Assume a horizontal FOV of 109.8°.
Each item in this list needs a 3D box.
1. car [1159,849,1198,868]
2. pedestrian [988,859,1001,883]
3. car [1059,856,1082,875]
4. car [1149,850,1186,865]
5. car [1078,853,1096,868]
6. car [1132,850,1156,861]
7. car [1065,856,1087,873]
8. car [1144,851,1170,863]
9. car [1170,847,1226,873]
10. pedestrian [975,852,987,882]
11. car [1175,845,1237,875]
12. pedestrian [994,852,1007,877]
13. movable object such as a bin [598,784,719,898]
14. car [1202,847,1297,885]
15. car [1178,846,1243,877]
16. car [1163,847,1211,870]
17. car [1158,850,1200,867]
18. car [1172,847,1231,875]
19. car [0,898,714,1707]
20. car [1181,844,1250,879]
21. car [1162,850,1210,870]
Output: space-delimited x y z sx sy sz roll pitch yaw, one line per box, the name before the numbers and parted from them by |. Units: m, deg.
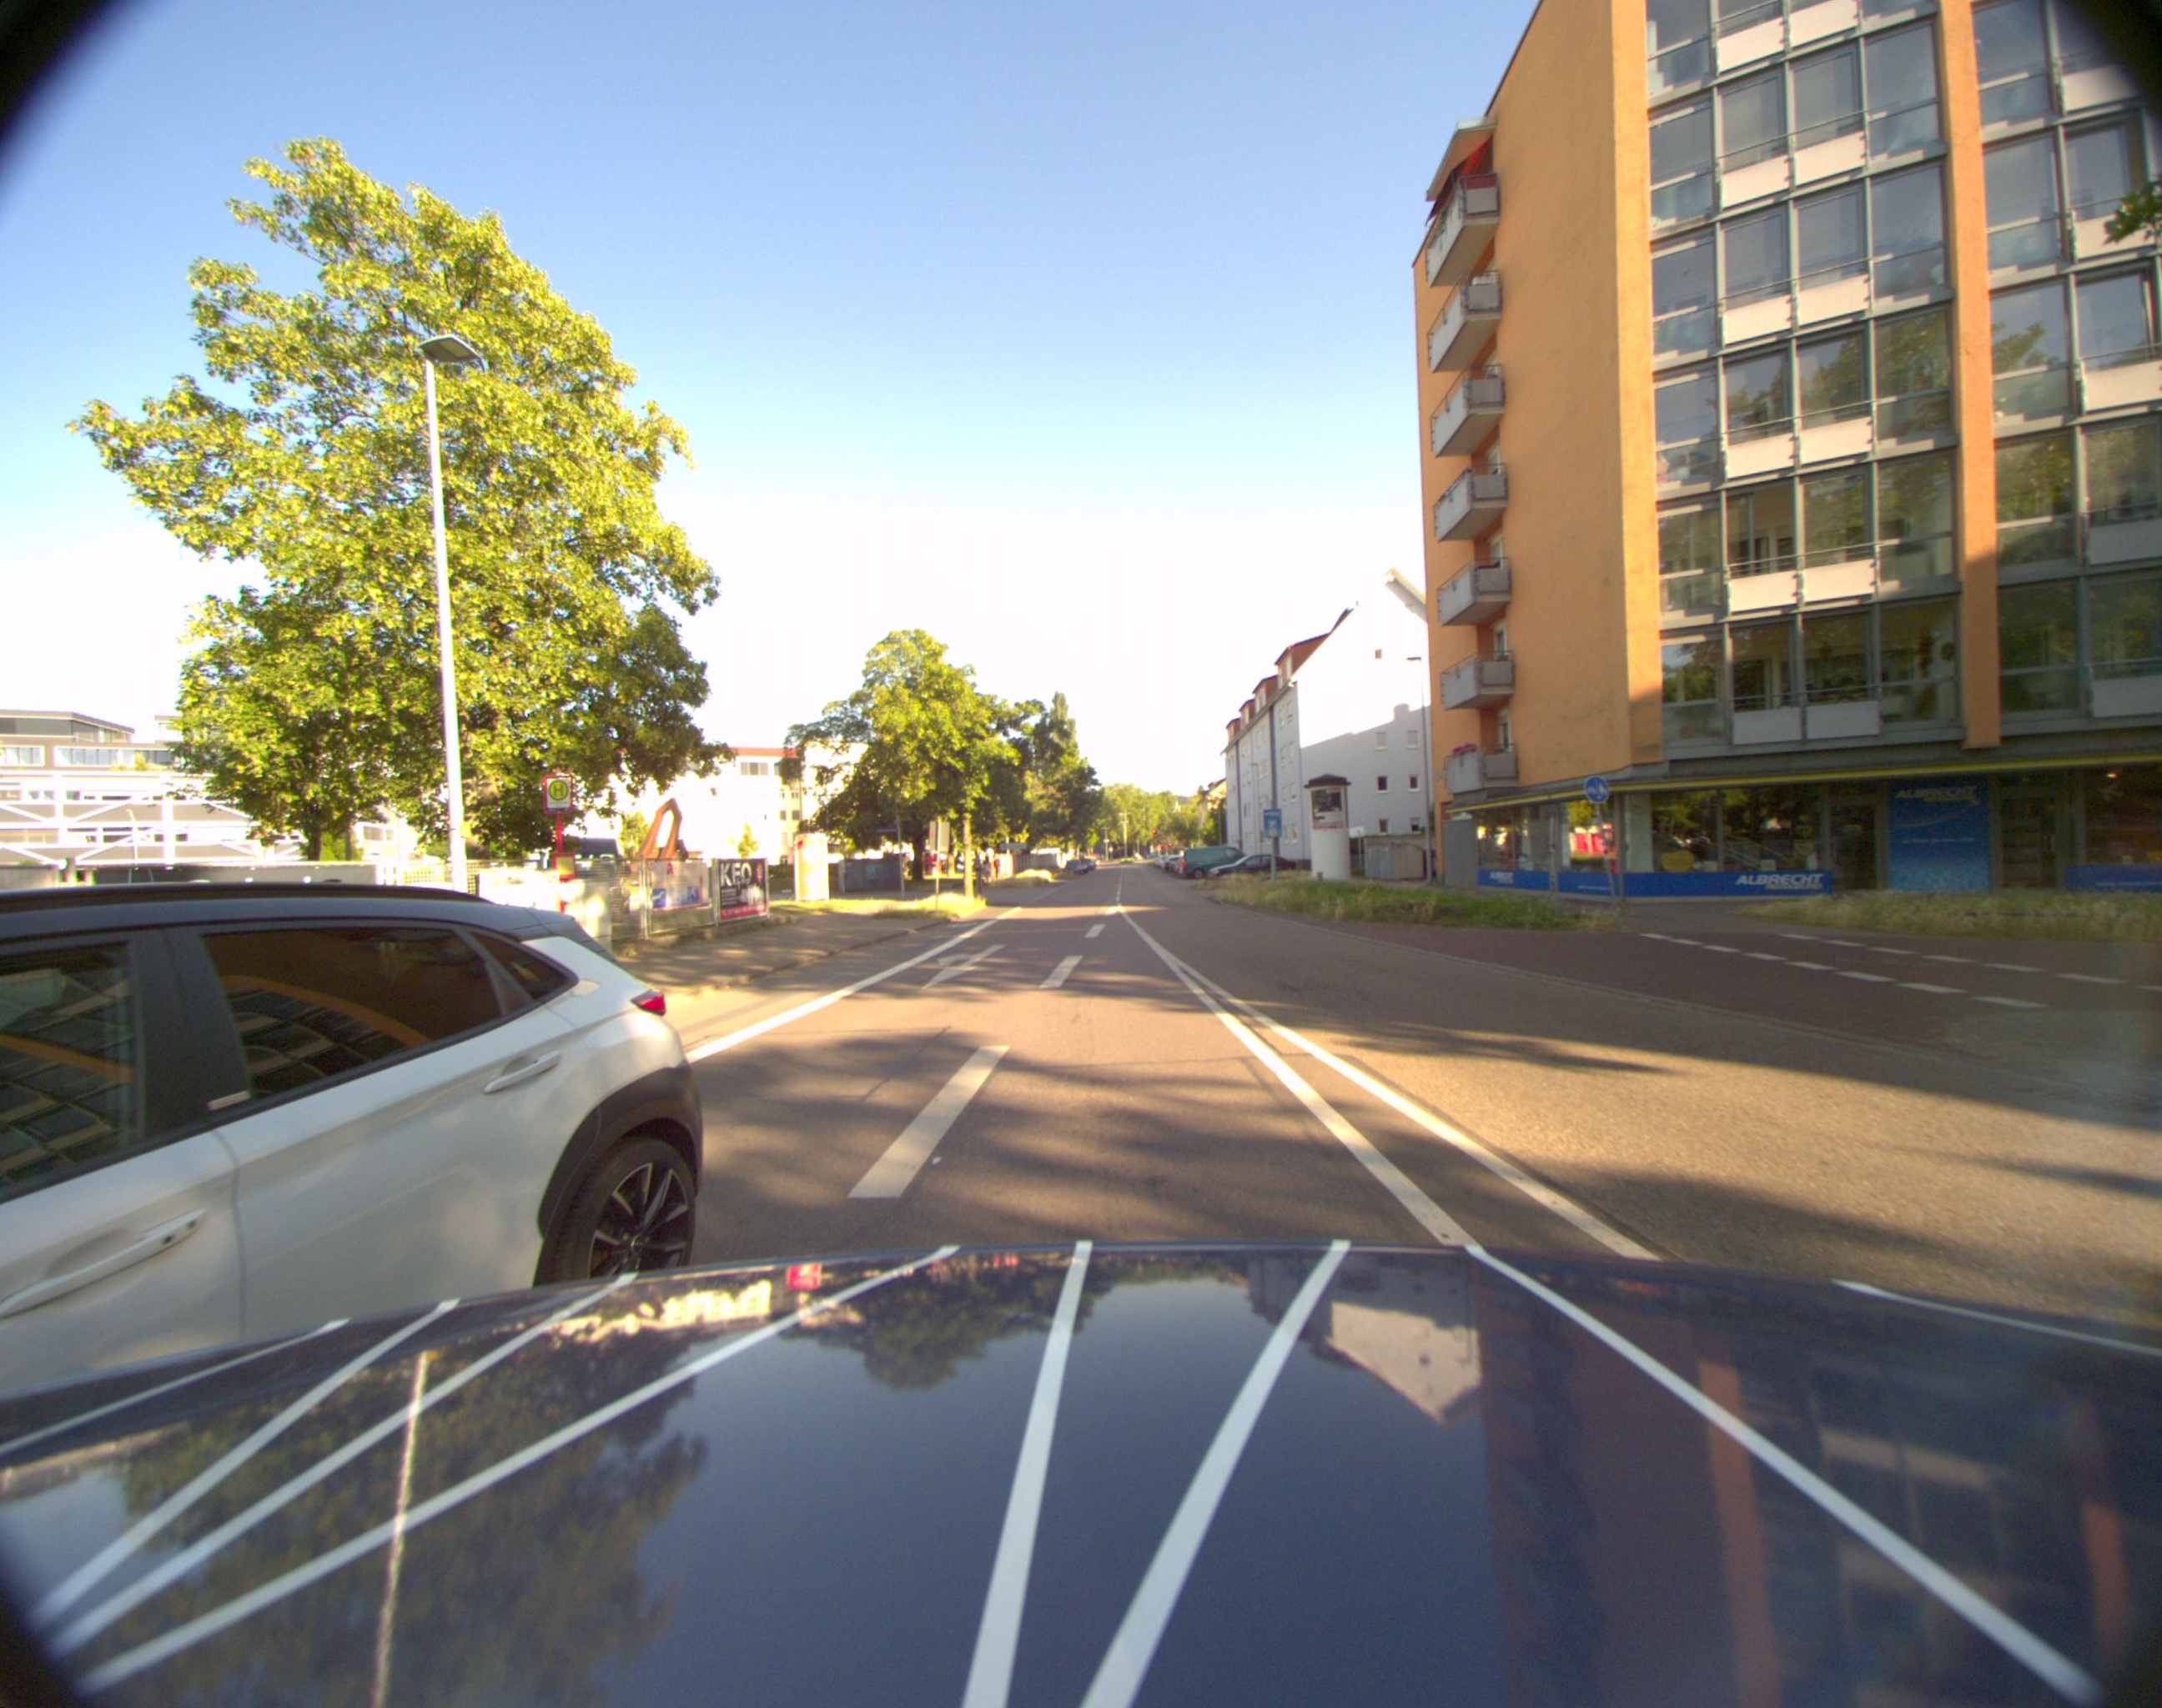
car | 10.395 0.468 81.223 4.071 1.742 1.899 -3 1 6
pedestrian | -5.195 1.024 45.609 0.609 1.426 0.639 -3 1 1
car | -0.968 1.071 70.774 1.998 1.521 3.999 -3 1 1
car | 10.375 0.368 91.346 4.257 1.564 1.867 -3 1 6
car | 0.720 0.753 89.151 1.998 1.521 3.999 -3 1 1
car | 9.856 0.268 118.916 3.538 1.564 1.867 -3 1 6
car | -0.458 0.990 75.121 1.998 1.521 3.999 -3 1 1
car | 10.645 0.395 106.398 3.538 1.564 1.867 -3 1 6
car | 8.842 0.465 57.597 4.071 1.742 1.899 -3 1 6
pedestrian | -6.017 0.784 45.726 0.609 1.727 0.638 -3 1 -5
car | 8.585 0.402 52.503 3.995 1.805 2.000 -3 1 6
pedestrian | -5.564 0.737 52.505 0.695 1.659 0.639 -3 1 5
movable object such as a bin | -22.174 -0.623 39.762 3.986 5.447 6.016 -4 1 -42
car | 8.359 0.577 38.035 4.423 1.652 2.001 -3 1 9
car | 8.437 0.445 49.747 3.995 1.805 2.000 -3 1 6
car | 9.386 0.387 67.646 4.117 1.762 1.757 -3 1 6
car | 10.443 0.499 81.088 4.257 1.564 1.867 -3 1 6
car | 8.661 0.478 54.853 4.059 1.805 1.937 -3 1 6
car | -2.467 0.954 0.953 1.894 1.587 3.967 -3 -2 3
car | 8.270 0.422 47.099 3.996 1.936 2.000 -3 1 4
car | 9.685 0.544 70.532 4.257 1.564 1.867 -3 1 6
